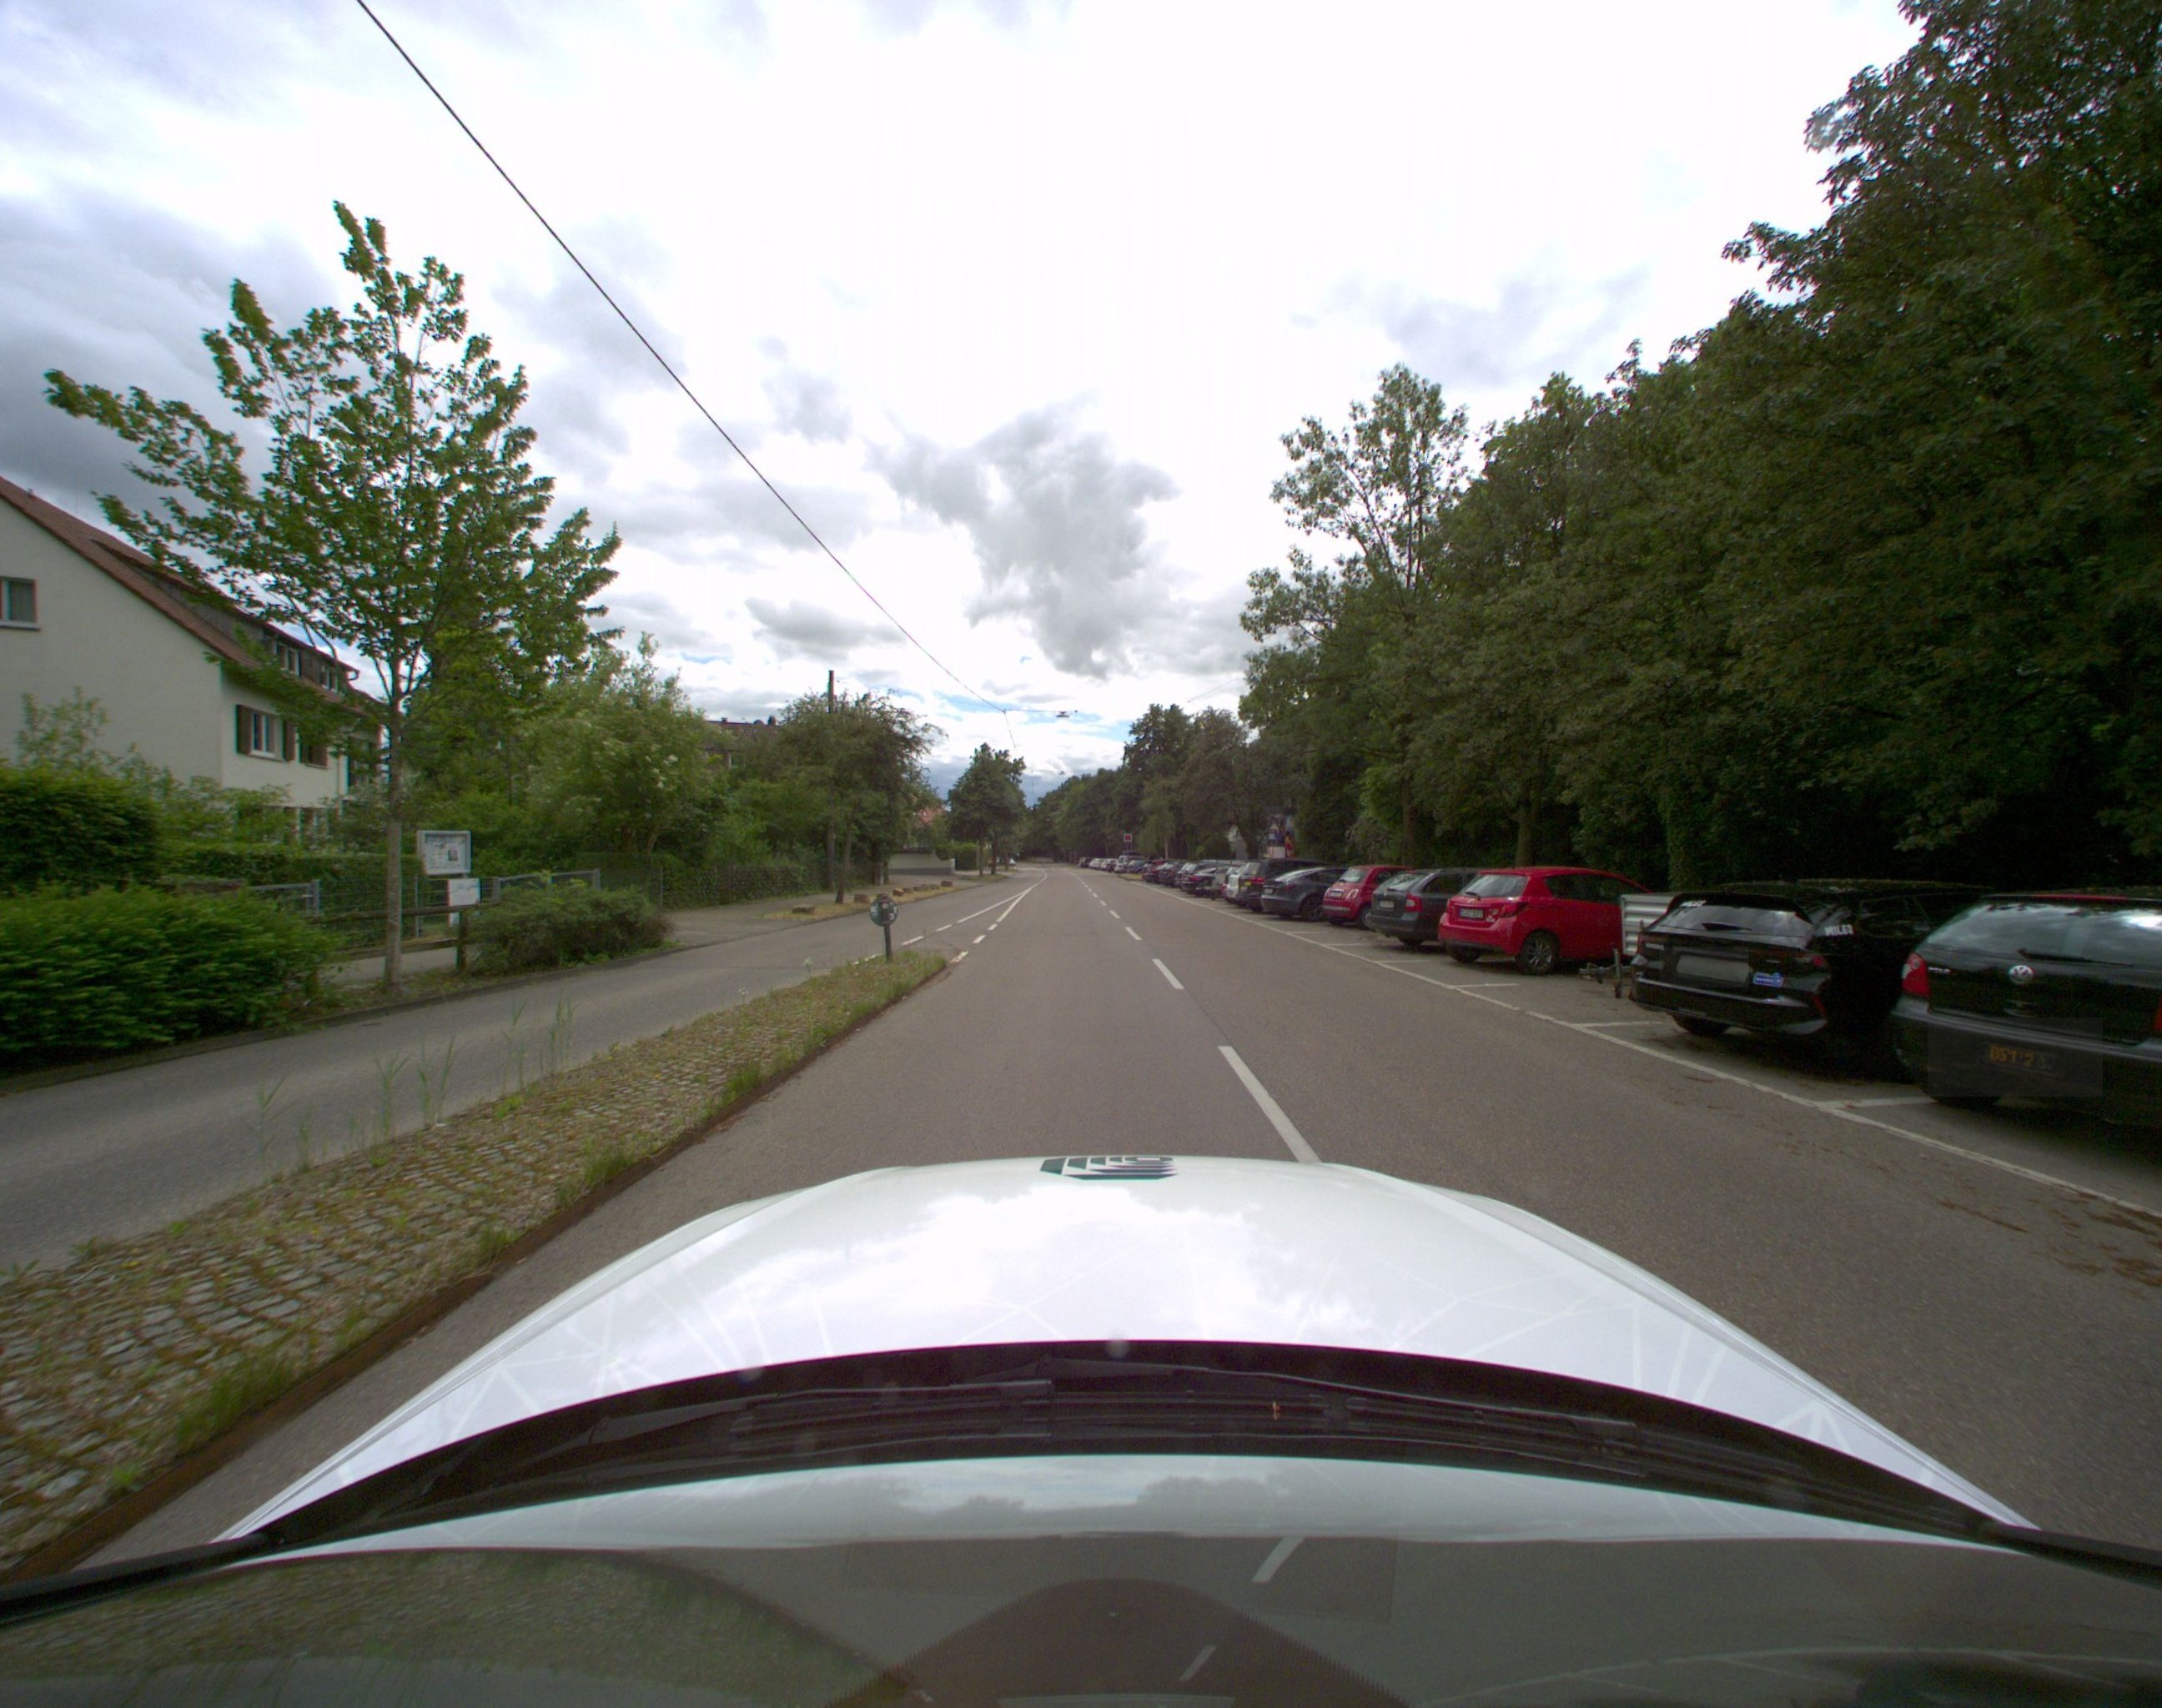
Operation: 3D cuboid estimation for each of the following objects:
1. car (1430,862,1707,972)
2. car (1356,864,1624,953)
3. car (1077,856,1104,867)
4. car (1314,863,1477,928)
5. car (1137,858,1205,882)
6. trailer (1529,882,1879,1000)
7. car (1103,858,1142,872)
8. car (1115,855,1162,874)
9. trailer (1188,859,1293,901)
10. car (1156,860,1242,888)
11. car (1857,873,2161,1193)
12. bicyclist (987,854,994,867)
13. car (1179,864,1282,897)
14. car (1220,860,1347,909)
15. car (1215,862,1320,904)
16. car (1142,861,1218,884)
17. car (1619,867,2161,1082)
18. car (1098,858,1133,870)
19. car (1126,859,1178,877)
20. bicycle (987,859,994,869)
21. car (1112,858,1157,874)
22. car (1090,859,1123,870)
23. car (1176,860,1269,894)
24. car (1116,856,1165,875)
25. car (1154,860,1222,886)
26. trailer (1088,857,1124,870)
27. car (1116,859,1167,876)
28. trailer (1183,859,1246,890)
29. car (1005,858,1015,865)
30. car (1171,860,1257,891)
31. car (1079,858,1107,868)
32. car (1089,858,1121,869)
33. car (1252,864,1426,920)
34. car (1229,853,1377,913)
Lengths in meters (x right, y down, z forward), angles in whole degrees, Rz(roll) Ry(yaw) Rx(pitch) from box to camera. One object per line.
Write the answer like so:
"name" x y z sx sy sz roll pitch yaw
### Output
"car" 7.318 0.896 12.319 3.528 1.476 1.585 1 0 -14
"car" 7.353 0.943 14.768 4.220 1.464 1.629 1 0 -11
"car" 1.433 1.231 126.947 3.899 1.668 1.731 1 -1 -21
"car" 7.536 0.982 19.648 3.328 1.464 1.628 1 -1 -12
"car" 5.838 1.034 52.931 4.089 1.515 1.720 0 0 -24
"trailer" 7.600 1.003 10.072 3.403 1.267 1.610 1 -1 -11
"car" 4.578 1.236 89.912 3.904 1.449 1.829 1 -1 -25
"car" 5.383 0.980 76.254 4.109 1.754 1.771 1 0 -28
"trailer" 6.241 1.003 31.945 3.692 1.535 1.639 1 0 -13
"car" 6.460 1.073 44.649 4.353 1.445 1.625 1 0 -16
"car" 6.965 0.899 4.663 3.708 1.476 1.574 1 0 -4
"bicyclist" -12.039 0.909 108.153 0.843 1.697 0.712 1 0 -5
"car" 6.303 1.108 34.541 4.038 1.327 1.554 1 -1 -11
"car" 6.737 1.002 27.245 3.815 1.529 1.603 1 -1 -6
"car" 6.793 1.052 29.735 3.429 1.445 1.552 1 -1 -14
"car" 6.077 1.141 50.094 4.320 1.341 1.724 1 -1 -16
"car" 6.951 0.889 6.899 4.138 1.476 1.570 1 0 -12
"car" 4.294 1.294 101.041 3.901 1.449 1.730 1 -1 -23
"car" 5.888 1.155 68.053 3.973 1.405 1.747 2 0 -17
"bicycle" -12.041 1.351 108.057 0.843 1.266 2.648 1 0 -4
"car" 5.221 1.206 79.642 3.976 1.449 1.907 1 -1 -17
"car" 3.336 1.369 105.868 3.904 1.309 1.729 1 -1 -26
"car" 6.511 1.056 37.429 3.920 1.486 1.609 1 0 -17
"car" 5.356 1.049 73.454 4.007 1.620 1.873 1 0 -18
"car" 6.246 1.082 47.531 3.619 1.445 1.625 1 0 -17
"trailer" 3.143 1.242 103.174 4.169 1.573 1.700 1 -1 -21
"car" 5.245 1.146 70.307 4.040 1.405 1.745 1 0 -20
"trailer" 6.960 1.046 42.469 2.991 1.542 1.297 1 0 -15
"car" -14.436 1.527 165.544 1.866 1.471 3.988 0 0 -8
"car" 6.498 1.047 39.999 3.845 1.455 1.626 1 0 -14
"car" 1.801 1.364 124.172 3.899 1.429 1.731 1 -1 -21
"car" 3.286 1.290 111.654 3.899 1.429 1.731 1 -1 -21
"car" 6.880 0.994 21.841 4.163 1.407 1.691 1 -1 -13
"car" 6.642 0.866 24.485 3.987 1.725 1.674 1 -1 -11
